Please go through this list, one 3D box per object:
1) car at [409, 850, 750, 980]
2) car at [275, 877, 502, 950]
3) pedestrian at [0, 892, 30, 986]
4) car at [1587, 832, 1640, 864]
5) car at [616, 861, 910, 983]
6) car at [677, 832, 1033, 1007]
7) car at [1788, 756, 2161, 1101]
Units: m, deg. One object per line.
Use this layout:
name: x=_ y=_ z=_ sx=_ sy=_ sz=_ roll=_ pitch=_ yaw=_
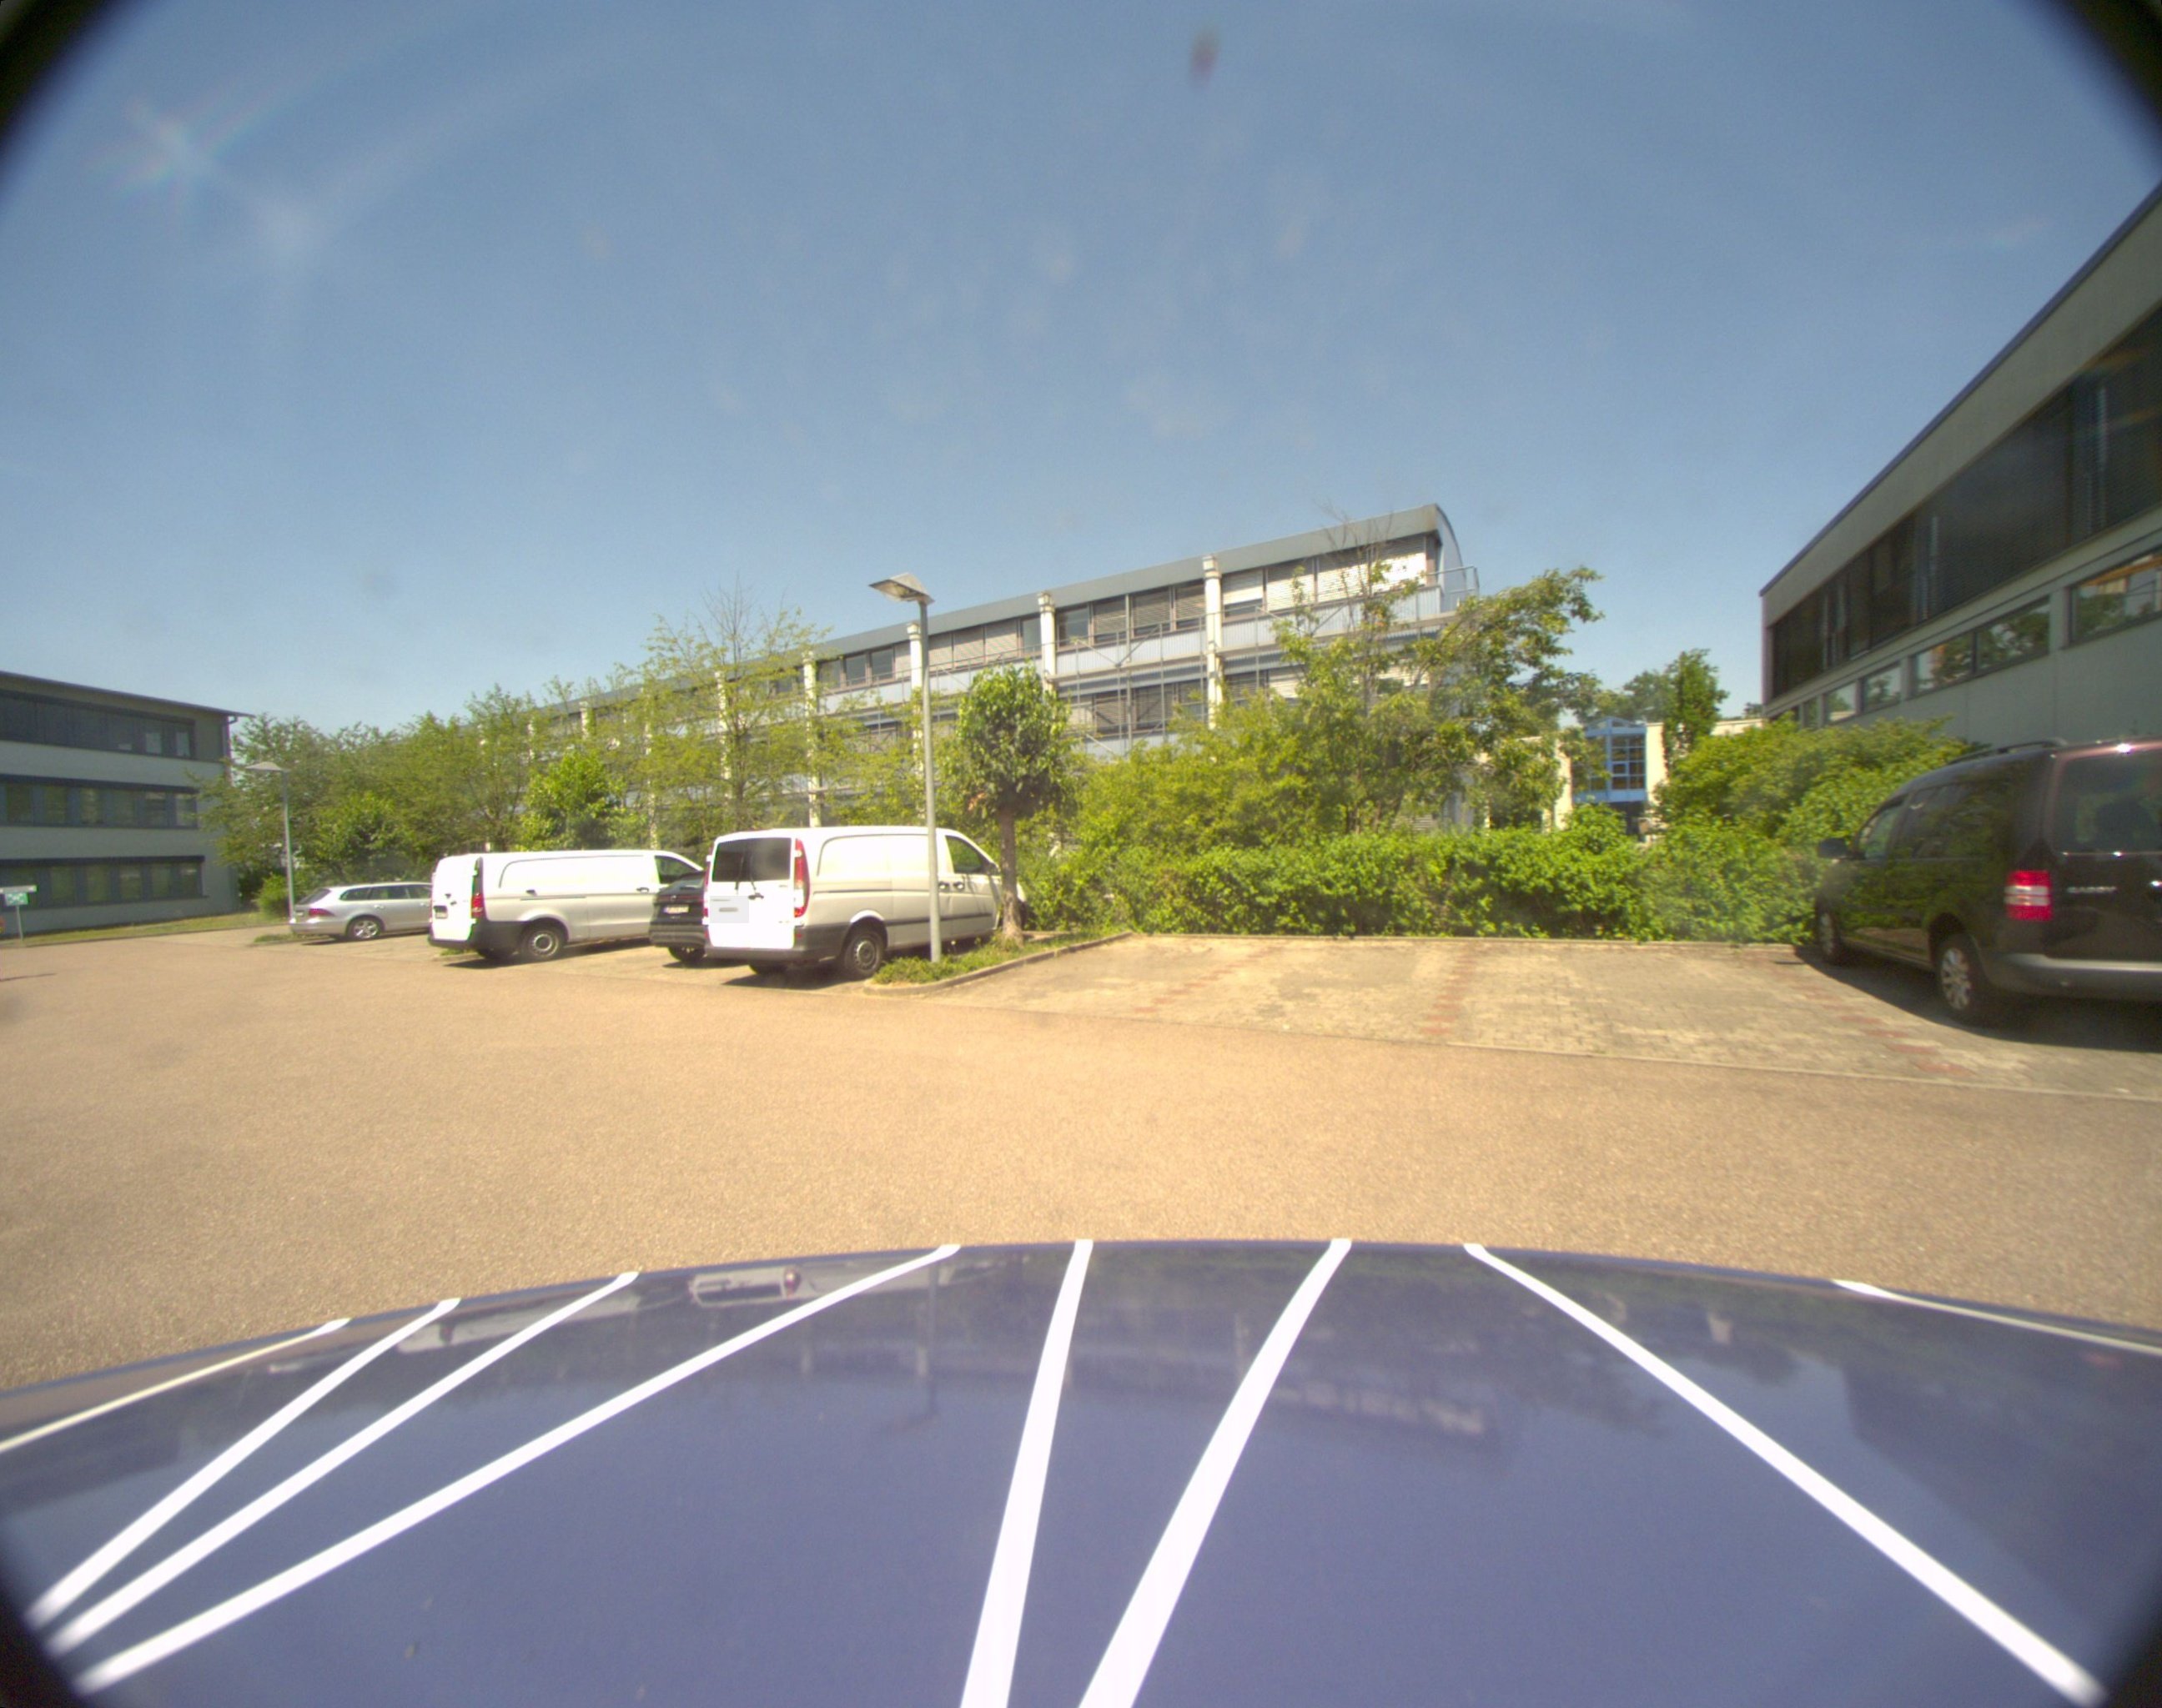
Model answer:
car: x=-9.074 y=0.965 z=14.300 sx=1.852 sy=1.845 sz=4.943 roll=-2 pitch=1 yaw=32
car: x=-18.308 y=1.507 z=20.299 sx=1.735 sy=1.475 sz=4.092 roll=-2 pitch=1 yaw=33
pedestrian: x=-20.759 y=1.625 z=14.471 sx=0.775 sy=1.747 sz=0.700 roll=-1 pitch=3 yaw=32
car: x=29.518 y=-0.365 z=42.237 sx=1.832 sy=1.558 sz=4.005 roll=-2 pitch=2 yaw=27
car: x=-4.952 y=0.967 z=12.484 sx=1.735 sy=1.475 sz=4.205 roll=-2 pitch=1 yaw=30
car: x=-2.792 y=0.681 z=10.644 sx=1.864 sy=1.849 sz=4.685 roll=-2 pitch=1 yaw=30
car: x=7.206 y=0.315 z=5.675 sx=1.864 sy=1.849 sz=4.236 roll=-2 pitch=1 yaw=30
